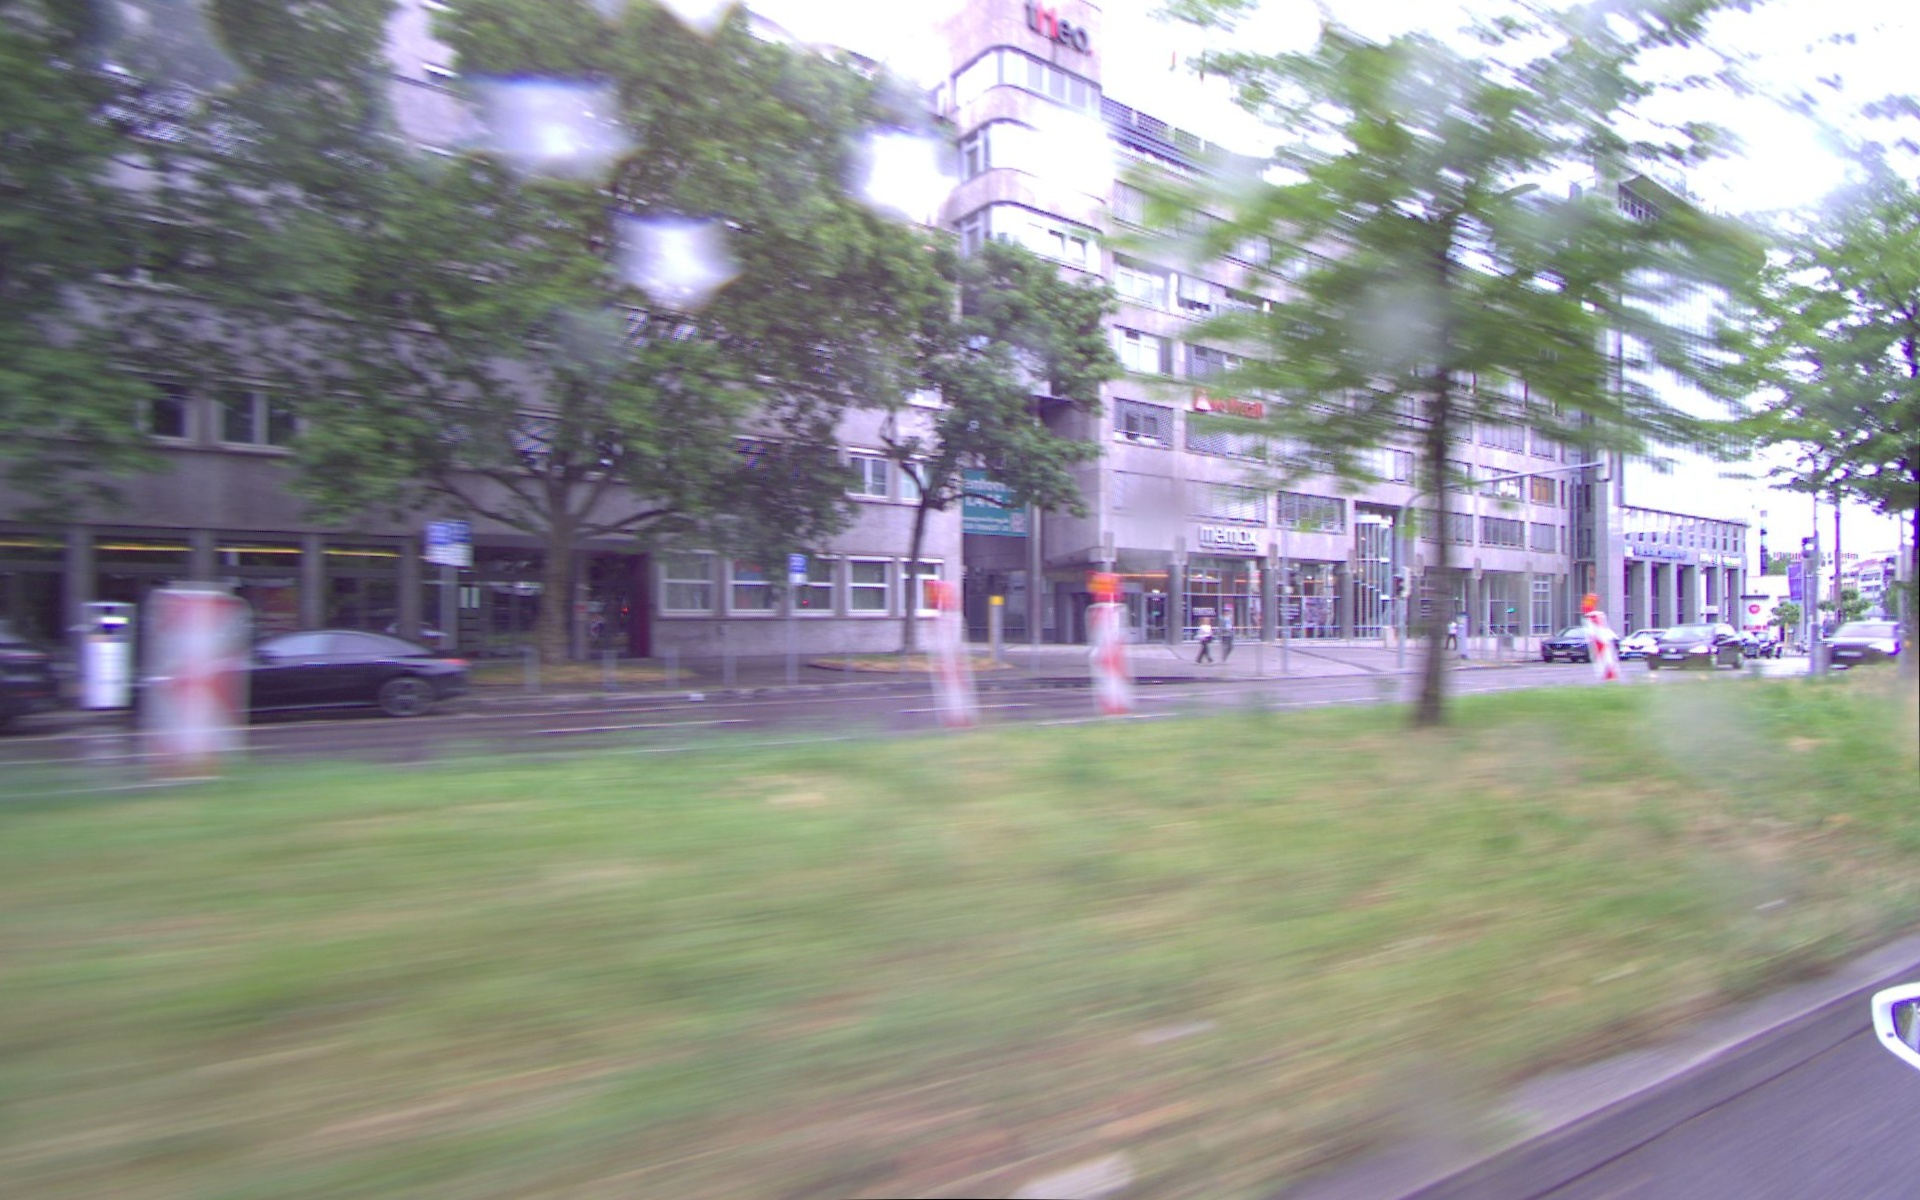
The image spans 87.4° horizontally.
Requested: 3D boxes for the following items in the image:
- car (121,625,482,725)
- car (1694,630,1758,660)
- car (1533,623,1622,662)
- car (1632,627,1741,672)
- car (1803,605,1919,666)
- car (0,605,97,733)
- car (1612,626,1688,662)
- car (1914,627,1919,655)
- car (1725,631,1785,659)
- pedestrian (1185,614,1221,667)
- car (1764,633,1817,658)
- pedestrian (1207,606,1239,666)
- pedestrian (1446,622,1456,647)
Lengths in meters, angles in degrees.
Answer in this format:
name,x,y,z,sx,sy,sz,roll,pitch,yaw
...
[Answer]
name,x,y,z,sx,sy,sz,roll,pitch,yaw
car,-10.341,1.154,16.153,4.605,1.412,1.758,1,-4,-33
car,41.545,2.431,54.473,3.964,1.568,1.796,2,-3,-37
car,25.897,1.784,42.107,4.040,1.556,1.861,2,-3,-37
car,23.279,1.555,32.130,3.964,1.328,1.792,1,-3,-38
car,28.808,1.128,32.075,3.962,1.850,1.980,1,-3,-36
car,-14.464,0.924,12.952,4.790,1.674,1.759,1,-4,-33
car,32.002,2.035,46.565,3.964,1.568,1.796,2,-3,-37
car,55.551,2.288,56.749,3.962,1.579,1.721,1,-3,-36
car,45.970,2.613,58.047,3.964,1.568,1.796,2,-3,-37
pedestrian,7.911,1.306,32.727,0.667,1.667,0.991,1,-1,-23
car,54.173,2.959,65.494,3.964,1.568,1.796,2,-3,-37
pedestrian,8.640,1.163,32.997,0.667,1.944,0.841,1,-1,-21
pedestrian,27.547,1.939,56.347,0.377,1.365,0.349,1,-1,-34
